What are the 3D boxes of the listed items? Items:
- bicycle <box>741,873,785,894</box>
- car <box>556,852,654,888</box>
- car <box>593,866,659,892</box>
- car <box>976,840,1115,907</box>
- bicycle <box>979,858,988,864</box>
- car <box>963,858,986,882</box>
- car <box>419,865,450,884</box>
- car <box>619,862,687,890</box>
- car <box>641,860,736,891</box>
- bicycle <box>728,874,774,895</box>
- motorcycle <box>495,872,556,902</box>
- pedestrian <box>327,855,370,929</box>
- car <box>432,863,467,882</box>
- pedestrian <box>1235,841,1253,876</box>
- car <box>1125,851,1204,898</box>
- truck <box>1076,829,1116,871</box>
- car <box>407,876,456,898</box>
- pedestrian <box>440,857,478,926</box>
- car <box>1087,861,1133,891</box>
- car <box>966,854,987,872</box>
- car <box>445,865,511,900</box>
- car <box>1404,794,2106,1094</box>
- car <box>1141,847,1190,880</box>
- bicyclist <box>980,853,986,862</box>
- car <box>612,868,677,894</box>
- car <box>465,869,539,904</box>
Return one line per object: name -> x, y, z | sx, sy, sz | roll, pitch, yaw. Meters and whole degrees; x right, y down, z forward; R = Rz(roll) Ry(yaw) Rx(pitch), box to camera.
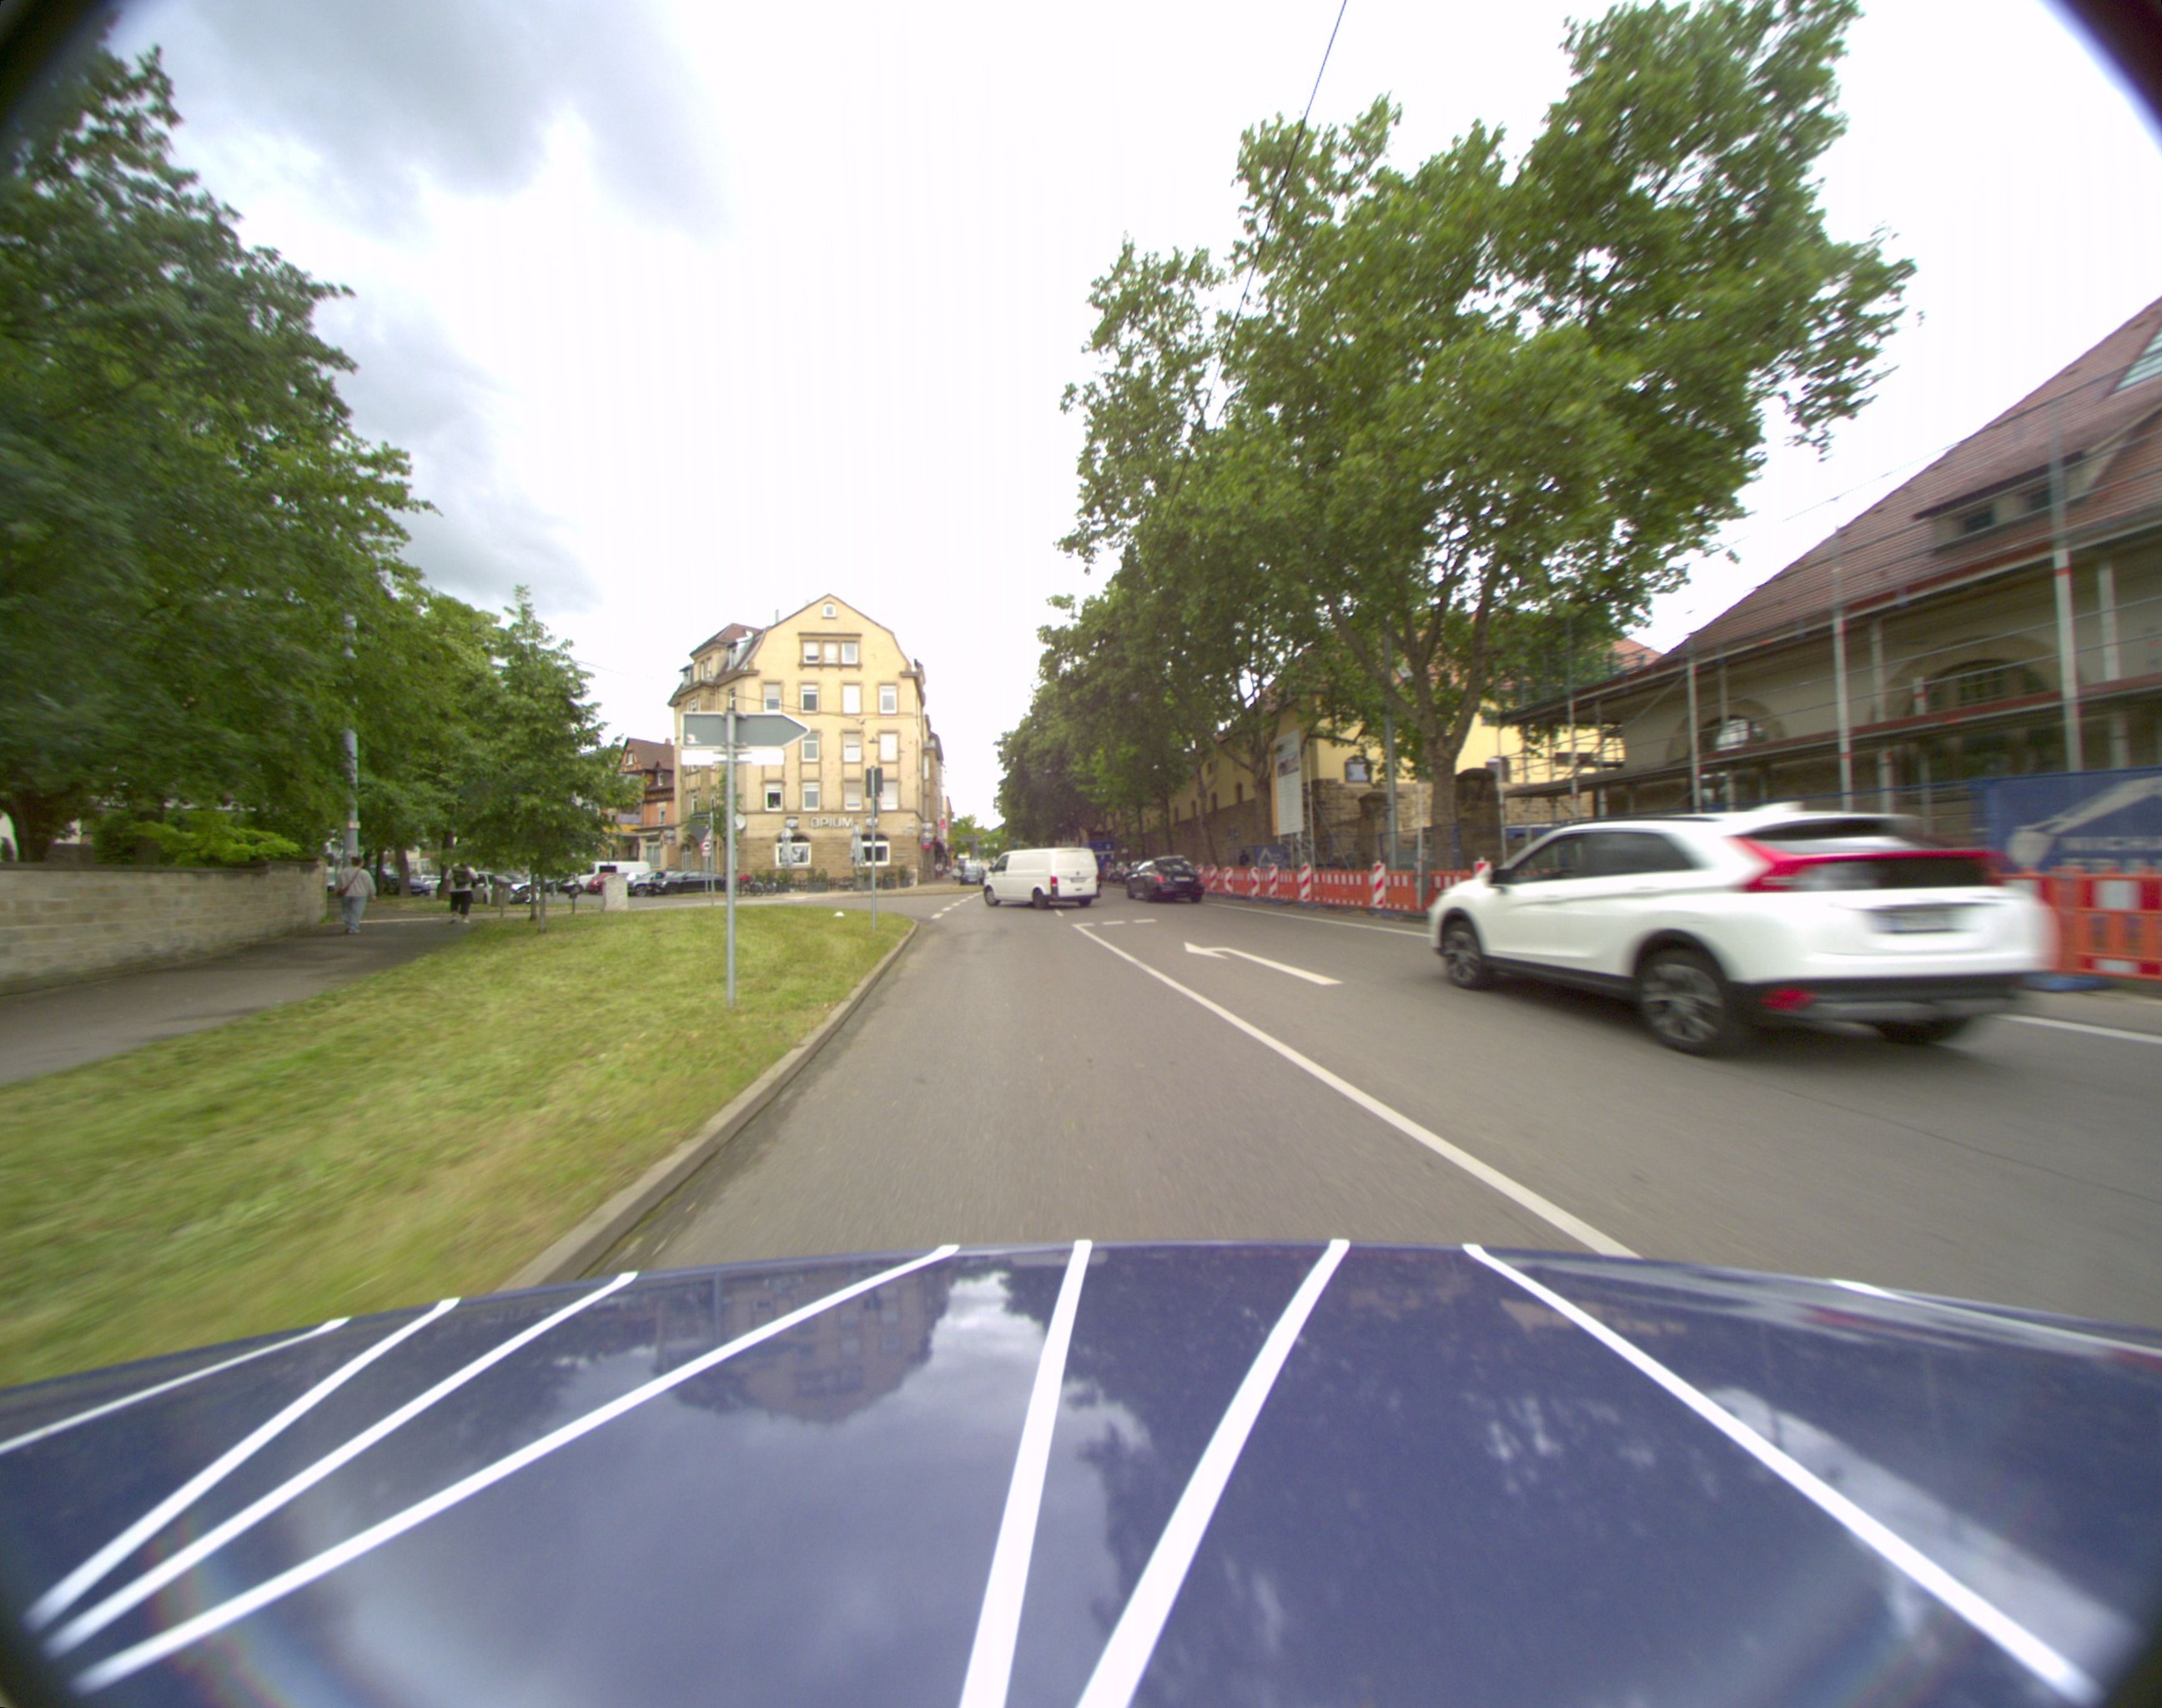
bicycle -> -16.883, 1.569, 40.323 | 2.184, 1.060, 0.602 | 0, 1, 10
car -> -33.510, 1.082, 53.653 | 1.994, 2.279, 5.509 | -1, 1, 43
car -> -29.639, 1.628, 49.560 | 1.545, 1.429, 3.300 | -2, 1, 35
car -> -1.343, 0.632, 25.451 | 2.215, 1.920, 5.227 | -3, 1, -33
bicycle -> -17.795, 1.265, 138.494 | 1.716, 0.986, 0.369 | 0, 1, 33
car -> -7.483, 1.116, 53.512 | 1.570, 1.601, 3.651 | -1, 0, -8
car -> -67.645, 2.139, 79.477 | 3.862, 1.803, 1.734 | -3, 2, 40
car -> -26.106, 1.348, 46.416 | 1.545, 1.527, 3.165 | -2, 0, 32
car -> -22.411, 1.171, 43.513 | 1.994, 1.587, 4.381 | -1, 1, 36
bicycle -> -17.110, 1.567, 39.426 | 2.184, 1.060, 0.602 | 0, 1, 10
motorcycle -> -24.098, 1.427, 32.977 | 1.999, 1.163, 0.560 | -4, 2, -11
pedestrian -> -16.039, 0.818, 16.649 | 0.582, 1.575, 0.573 | 1, -1, -36
car -> -64.036, 1.923, 77.047 | 3.989, 1.736, 2.003 | -2, 2, 40
pedestrian -> 8.675, 0.239, 40.456 | 0.594, 1.789, 0.742 | -4, 2, -7
car -> 2.911, 0.680, 27.534 | 1.807, 1.464, 4.846 | -3, 0, -6
truck -> 1.250, -0.349, 68.216 | 2.222, 3.396, 7.241 | -4, 1, -9
car -> -46.610, 2.335, 54.478 | 4.230, 1.347, 2.004 | -1, 1, 41
pedestrian -> -16.193, 0.966, 19.779 | 0.713, 1.724, 0.659 | -2, 0, -41
car -> 1.510, 1.149, 41.115 | 1.705, 1.417, 4.246 | -2, 0, -8
car -> -9.796, 0.839, 70.845 | 1.684, 1.653, 4.539 | 0, 0, -11
car -> -31.451, 1.479, 39.576 | 4.361, 1.587, 2.004 | -2, 1, 43
car -> 4.697, 0.495, 6.440 | 1.796, 1.601, 4.507 | -2, 0, -3
car -> 4.906, 0.529, 44.735 | 1.840, 1.865, 4.413 | -1, 0, -7
bicyclist -> -17.928, 0.702, 138.587 | 0.749, 1.619, 0.683 | -2, 1, 33
car -> -27.888, 1.703, 48.588 | 1.469, 1.393, 3.183 | -3, 1, 33
car -> -26.972, 1.455, 35.366 | 4.266, 1.490, 1.816 | -1, 0, 40
